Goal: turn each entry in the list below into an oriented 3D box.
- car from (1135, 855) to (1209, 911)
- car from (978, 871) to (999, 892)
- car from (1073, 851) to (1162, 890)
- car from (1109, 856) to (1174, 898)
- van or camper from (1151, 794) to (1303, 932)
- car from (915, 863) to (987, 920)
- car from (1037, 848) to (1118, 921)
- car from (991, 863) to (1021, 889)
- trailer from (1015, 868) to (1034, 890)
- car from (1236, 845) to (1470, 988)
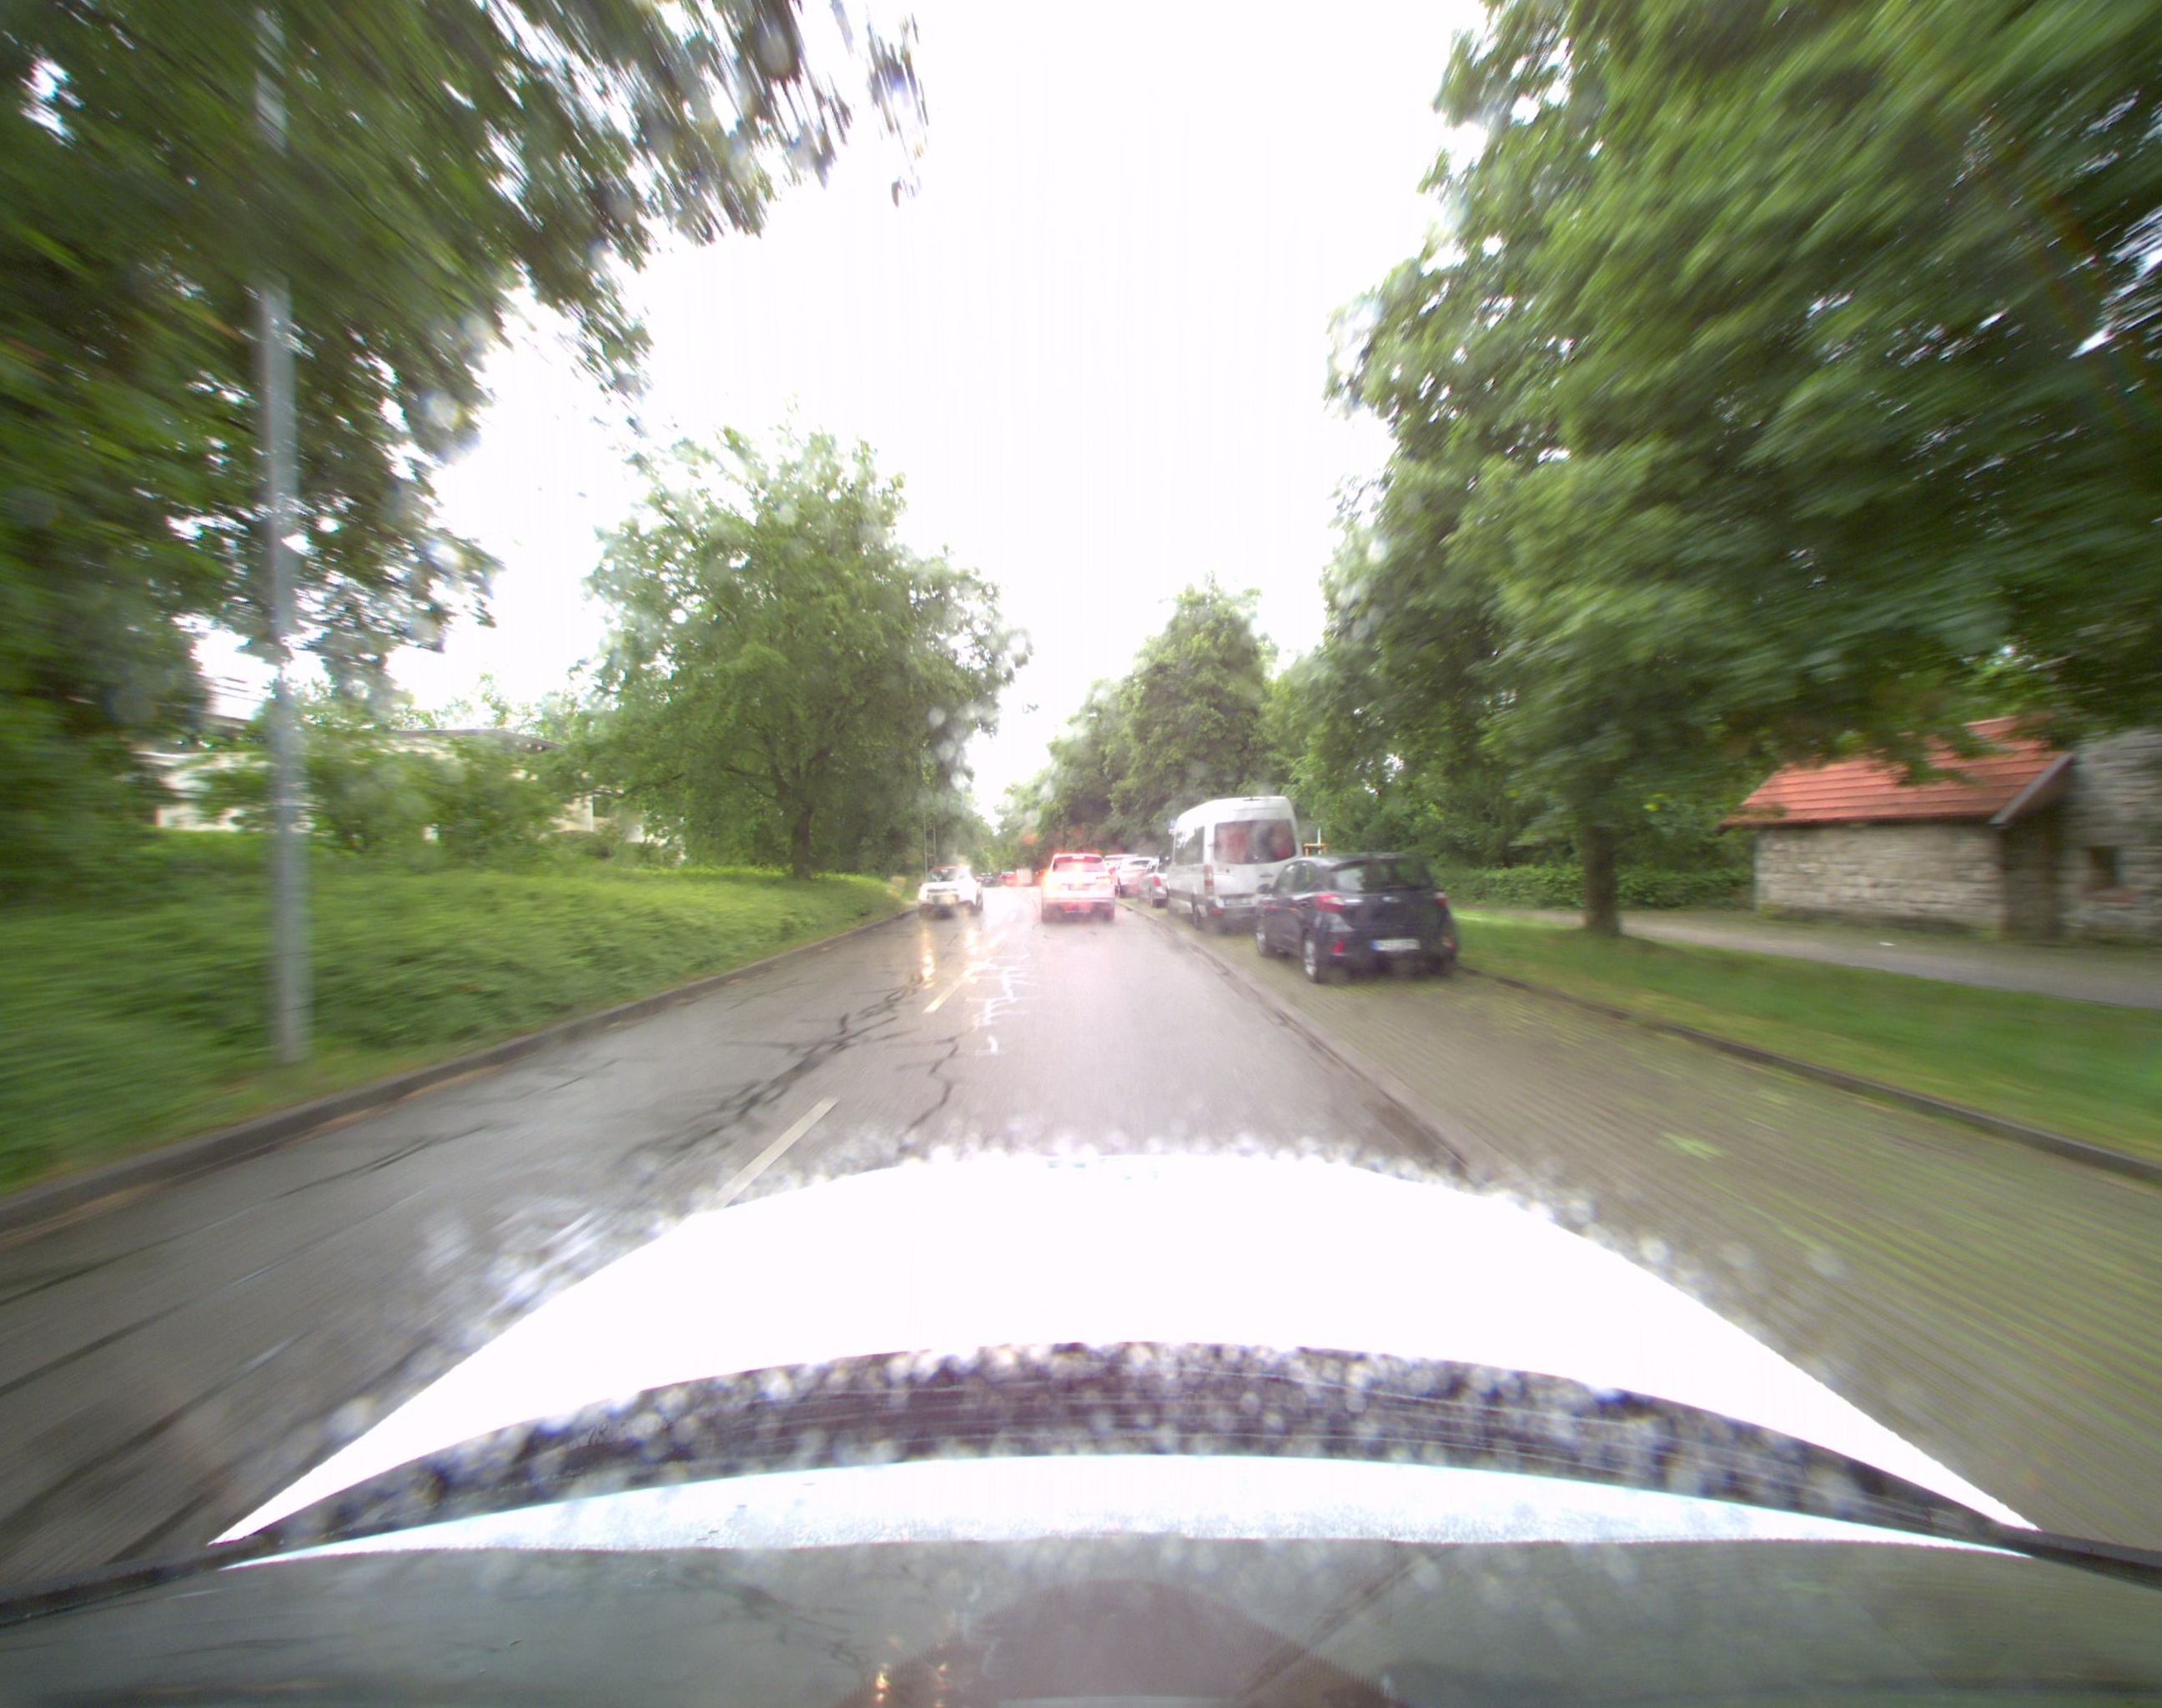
[{"bbox_3d":[2.829,0.857,26.135,1.800,1.539,4.265,-3,0,-1],"label":"car"},{"bbox_3d":[-9.848,2.885,86.475,1.993,2.013,3.987,-2,1,-10],"label":"car"},{"bbox_3d":[1.638,0.789,37.599,3.956,1.681,1.621,-2,0,44],"label":"car"},{"bbox_3d":[2.322,0.857,32.445,1.989,1.497,4.561,-2,0,-3],"label":"car"},{"bbox_3d":[3.097,0.125,19.433,2.010,2.583,8.432,0,0,-1],"label":"van or camper"},{"bbox_3d":[-3.862,1.071,24.748,1.662,1.477,3.728,-4,0,-3],"label":"car"},{"bbox_3d":[-0.065,0.758,21.390,1.899,1.685,4.200,-1,-1,0],"label":"car"},{"bbox_3d":[-6.438,1.834,69.340,1.996,2.013,3.983,-2,1,-13],"label":"car"},{"bbox_3d":[-5.983,2.664,86.162,1.530,2.076,3.985,-3,-3,-10],"label":"trailer"},{"bbox_3d":[3.366,0.683,10.881,1.859,1.511,3.724,-2,0,0],"label":"car"}]
